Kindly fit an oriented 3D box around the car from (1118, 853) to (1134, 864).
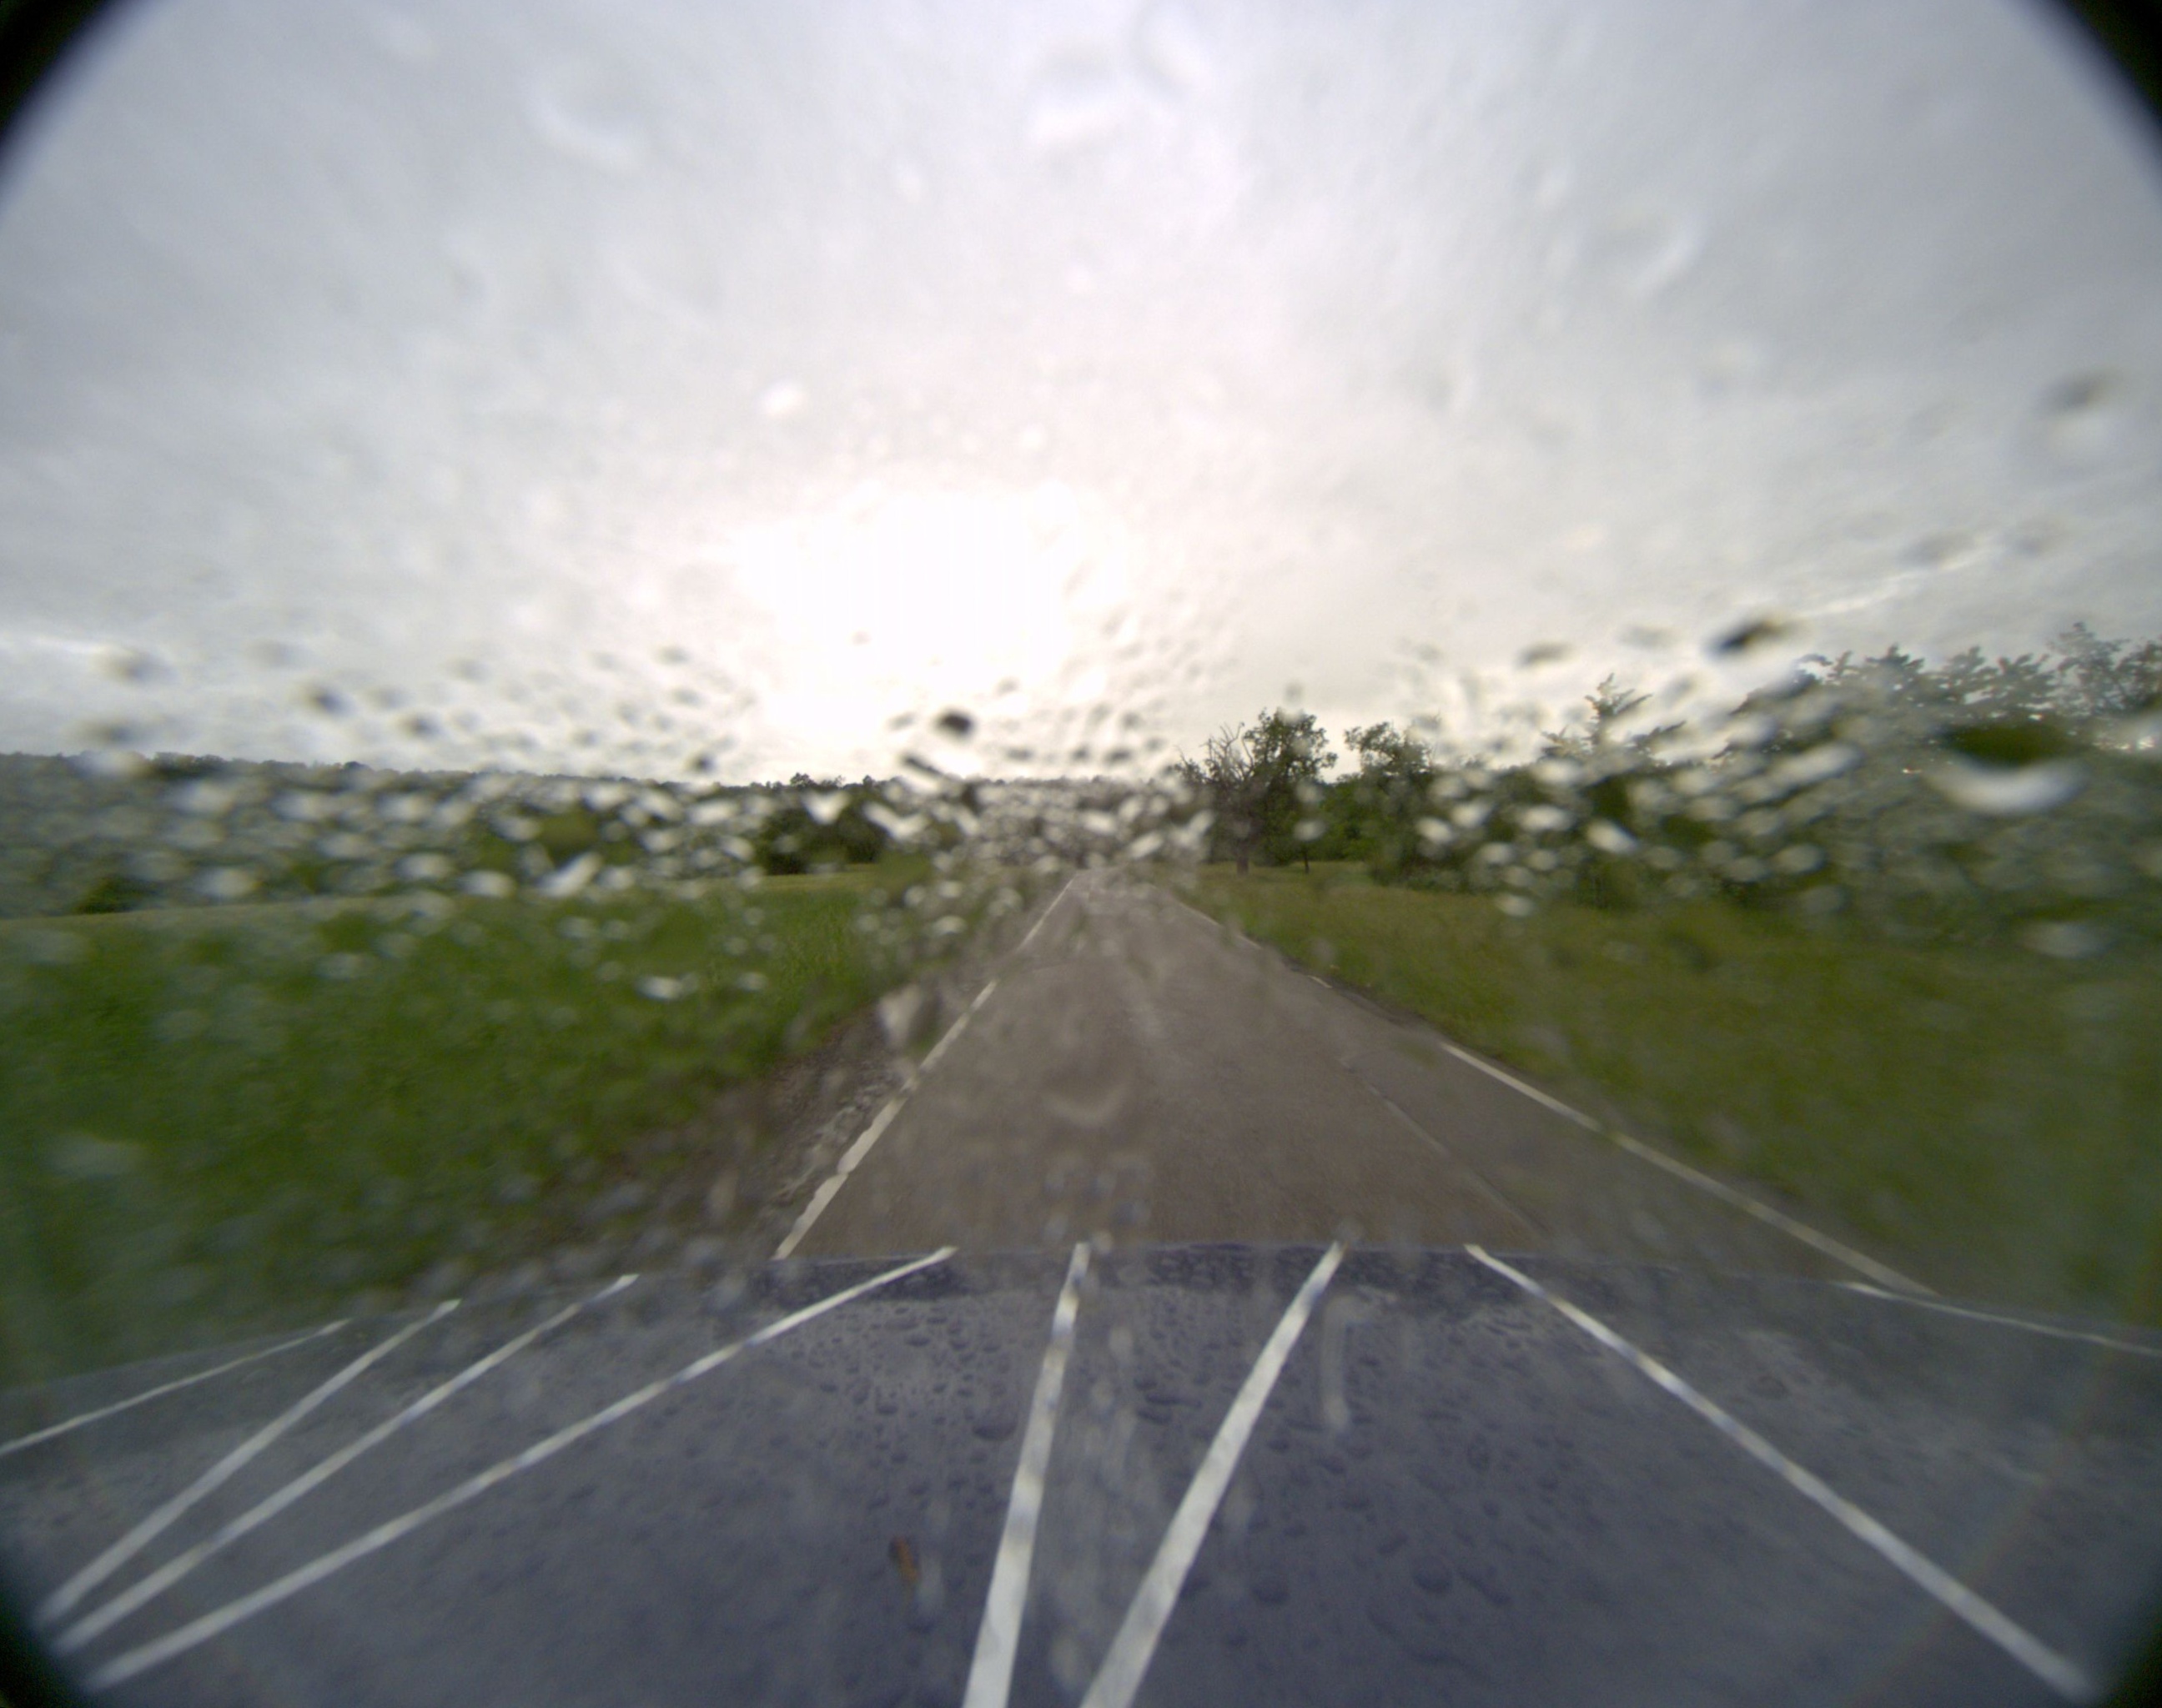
[{"bbox_3d":[6.258,0.585,105.094,1.744,1.463,4.121,-2,1,-3],"label":"car"}]
